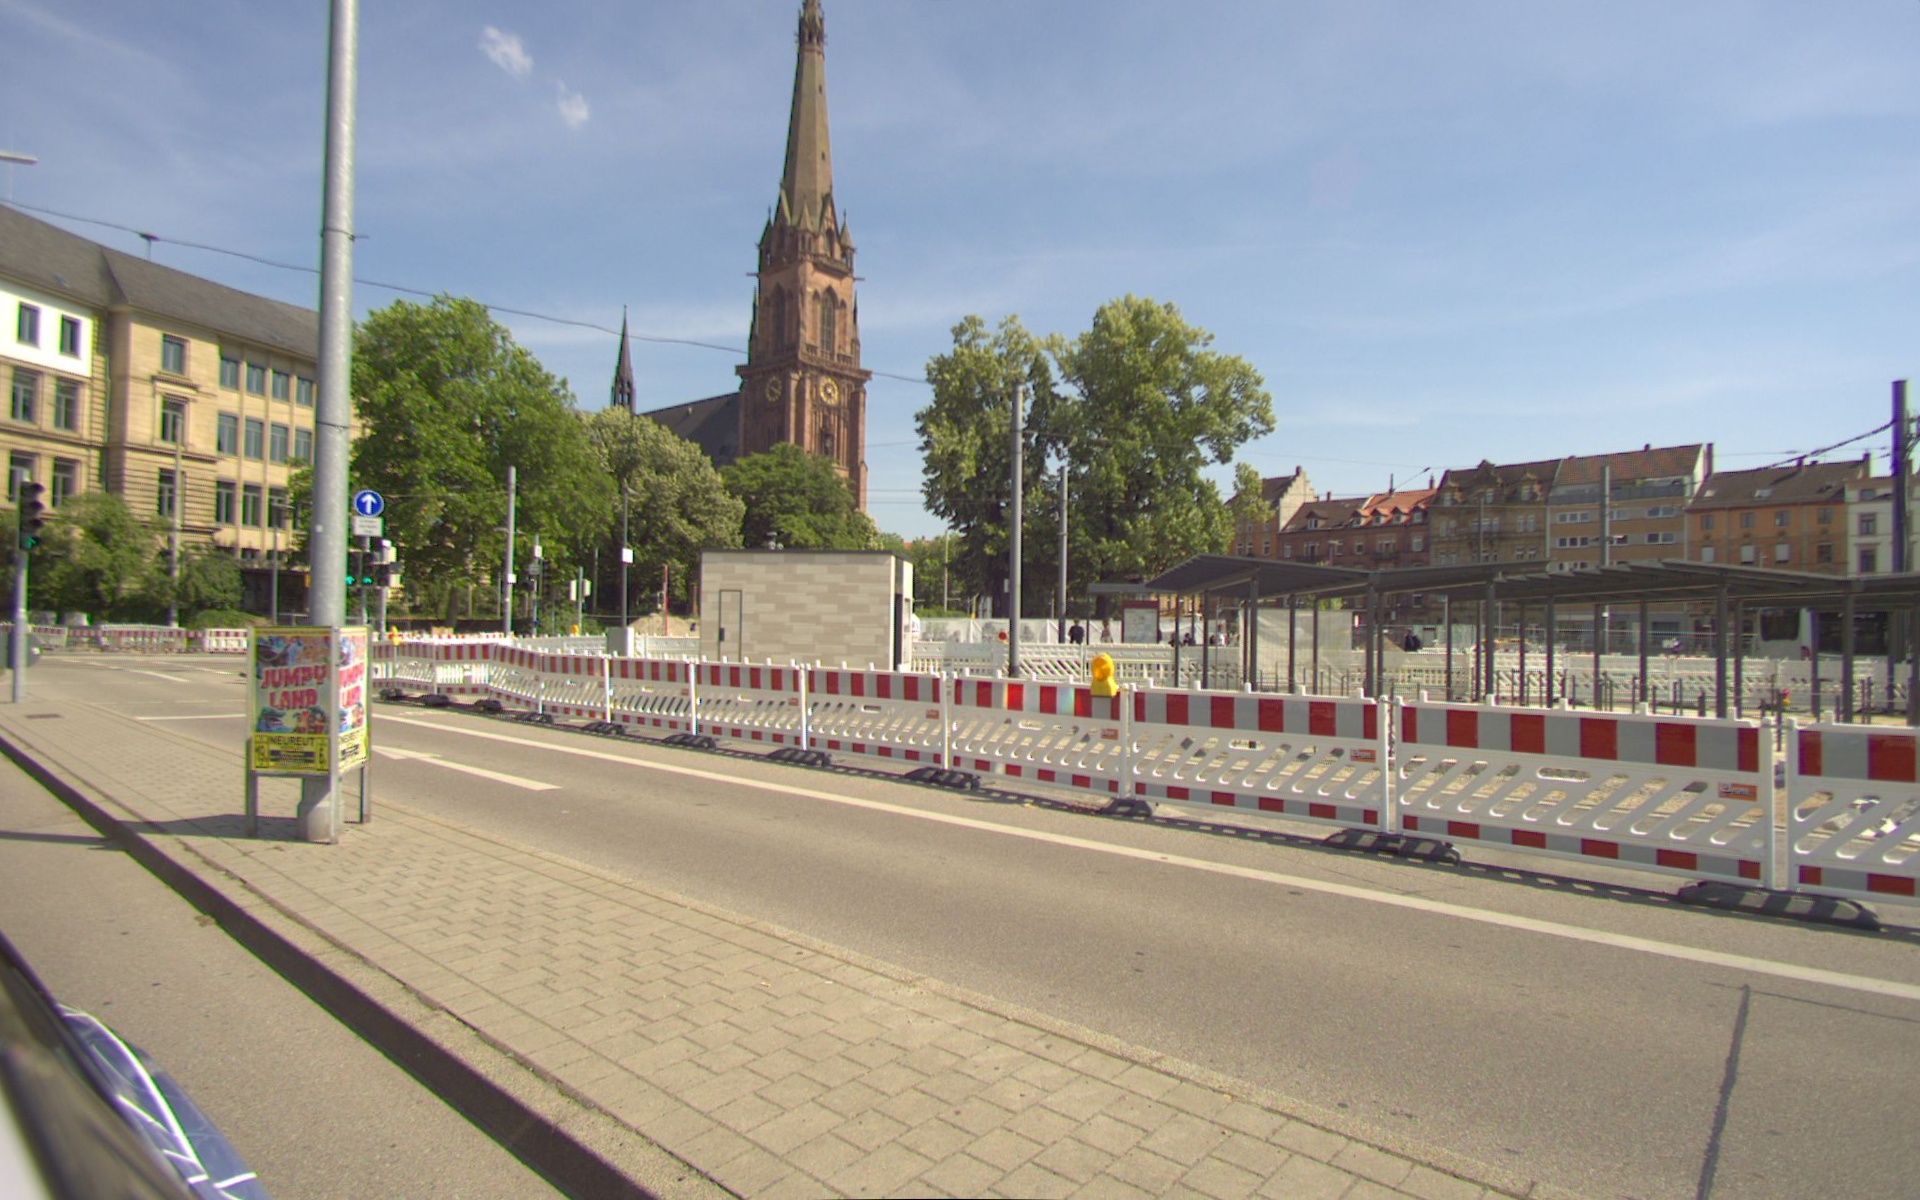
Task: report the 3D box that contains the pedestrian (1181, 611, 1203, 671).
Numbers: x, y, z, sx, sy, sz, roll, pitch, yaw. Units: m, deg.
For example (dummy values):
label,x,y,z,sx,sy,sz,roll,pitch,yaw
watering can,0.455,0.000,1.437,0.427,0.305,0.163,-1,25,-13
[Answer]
label,x,y,z,sx,sy,sz,roll,pitch,yaw
pedestrian,7.990,1.408,34.862,0.679,2.029,0.818,1,-2,11

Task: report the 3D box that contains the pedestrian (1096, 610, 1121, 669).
label,x,y,z,sx,sy,sz,roll,pitch,yaw
pedestrian,5.222,1.392,35.594,0.810,2.029,0.685,1,-2,6

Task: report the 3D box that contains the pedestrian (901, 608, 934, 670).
label,x,y,z,sx,sy,sz,roll,pitch,yaw
pedestrian,-1.421,1.297,33.769,0.686,2.029,0.809,-1,-3,43

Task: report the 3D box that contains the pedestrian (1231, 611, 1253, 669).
label,x,y,z,sx,sy,sz,roll,pitch,yaw
pedestrian,10.042,1.407,36.071,0.679,2.029,0.818,1,-2,11

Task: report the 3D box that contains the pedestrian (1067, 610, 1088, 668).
label,x,y,z,sx,sy,sz,roll,pitch,yaw
pedestrian,4.149,1.383,35.749,0.678,2.029,0.819,1,-2,7

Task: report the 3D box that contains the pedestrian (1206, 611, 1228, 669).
label,x,y,z,sx,sy,sz,roll,pitch,yaw
pedestrian,9.065,1.413,35.662,0.679,2.029,0.818,1,-2,11

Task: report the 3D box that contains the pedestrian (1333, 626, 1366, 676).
label,x,y,z,sx,sy,sz,roll,pitch,yaw
pedestrian,13.407,1.751,34.860,0.733,1.674,0.822,1,-2,-7

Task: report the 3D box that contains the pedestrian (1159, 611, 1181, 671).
label,x,y,z,sx,sy,sz,roll,pitch,yaw
pedestrian,7.229,1.421,34.850,0.679,2.029,0.818,1,-2,11

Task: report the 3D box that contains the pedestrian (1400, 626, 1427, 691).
label,x,y,z,sx,sy,sz,roll,pitch,yaw
pedestrian,14.618,1.874,32.610,0.680,2.029,0.816,0,-2,16
